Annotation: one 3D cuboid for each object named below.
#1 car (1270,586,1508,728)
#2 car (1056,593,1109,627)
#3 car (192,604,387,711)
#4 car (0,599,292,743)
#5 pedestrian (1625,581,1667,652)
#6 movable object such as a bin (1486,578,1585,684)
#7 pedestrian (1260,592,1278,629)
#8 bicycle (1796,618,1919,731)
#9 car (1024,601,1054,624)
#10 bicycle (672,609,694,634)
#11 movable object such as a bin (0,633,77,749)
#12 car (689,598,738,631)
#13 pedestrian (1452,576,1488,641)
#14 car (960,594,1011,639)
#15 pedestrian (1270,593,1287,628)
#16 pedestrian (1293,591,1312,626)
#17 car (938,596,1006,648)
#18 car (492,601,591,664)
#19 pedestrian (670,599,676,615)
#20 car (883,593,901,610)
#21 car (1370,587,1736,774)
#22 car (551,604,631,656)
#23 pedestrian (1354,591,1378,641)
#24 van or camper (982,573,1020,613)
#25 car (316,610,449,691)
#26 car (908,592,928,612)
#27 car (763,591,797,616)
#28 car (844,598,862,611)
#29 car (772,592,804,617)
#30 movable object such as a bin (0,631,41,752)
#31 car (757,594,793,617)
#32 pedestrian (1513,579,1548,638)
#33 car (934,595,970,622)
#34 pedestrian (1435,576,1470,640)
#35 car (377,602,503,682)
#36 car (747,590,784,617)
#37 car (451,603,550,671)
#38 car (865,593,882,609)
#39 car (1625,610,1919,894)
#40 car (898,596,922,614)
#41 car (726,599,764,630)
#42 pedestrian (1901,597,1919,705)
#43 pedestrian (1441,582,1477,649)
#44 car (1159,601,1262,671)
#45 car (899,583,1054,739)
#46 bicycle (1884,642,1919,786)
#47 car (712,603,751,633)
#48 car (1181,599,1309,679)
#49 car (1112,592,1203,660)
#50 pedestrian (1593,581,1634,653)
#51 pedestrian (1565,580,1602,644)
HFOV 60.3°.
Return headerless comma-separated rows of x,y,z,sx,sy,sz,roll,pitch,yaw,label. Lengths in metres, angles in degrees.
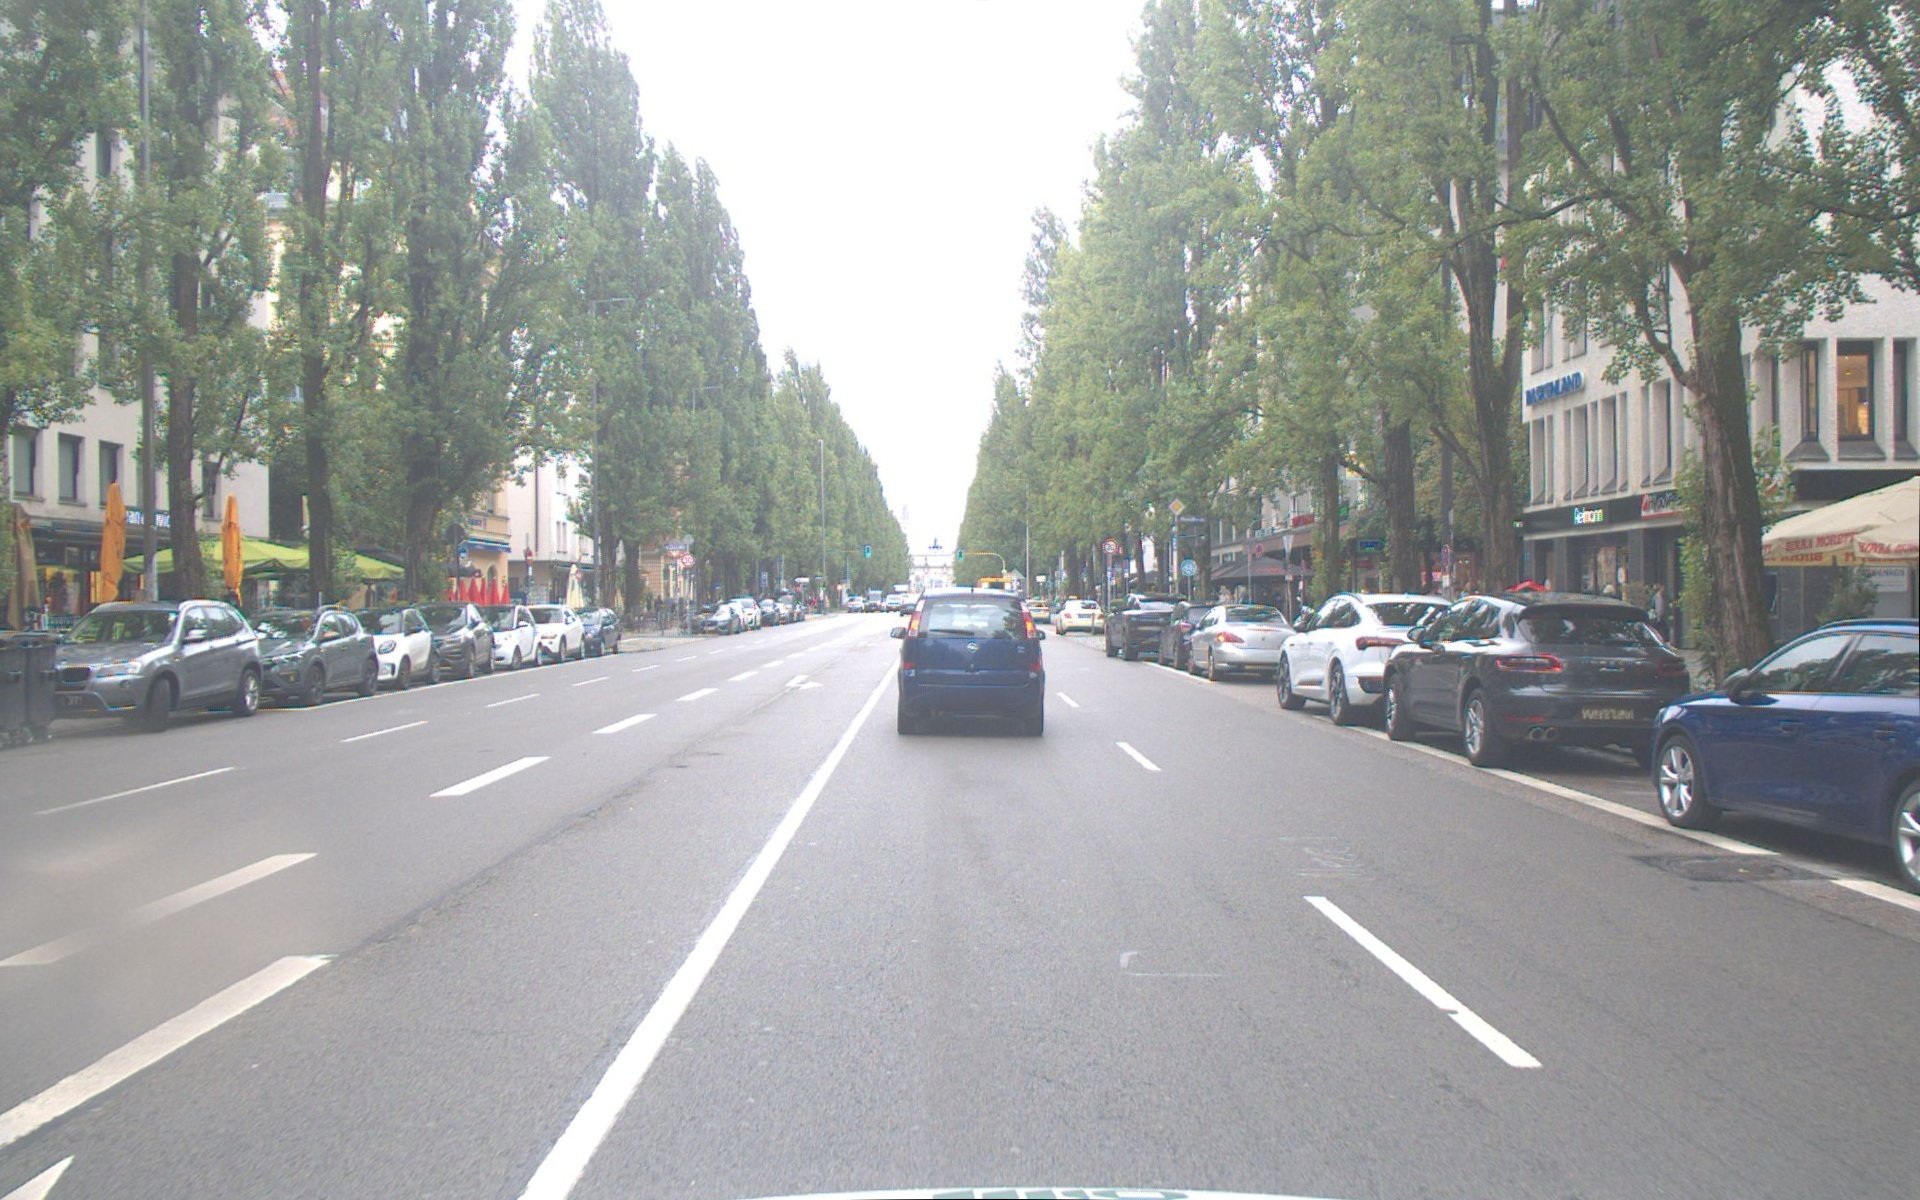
5.488,0.667,21.820,1.790,1.649,4.746,1,0,-2,car
5.098,0.404,69.049,1.858,1.386,3.899,-1,0,-1,car
-10.943,0.881,27.295,1.663,1.577,4.080,-1,0,-2,car
-11.006,0.875,22.757,1.827,1.683,4.614,-3,0,-2,car
16.279,0.379,39.256,0.641,1.655,0.704,-1,0,-4,pedestrian
9.779,0.508,28.171,1.012,1.733,1.585,-1,0,-5,movable object such as a bin
12.979,0.433,69.483,0.627,1.553,0.484,-1,0,-1,pedestrian
10.244,0.820,18.454,1.678,1.213,0.420,-1,0,-6,bicycle
4.907,0.778,103.690,1.635,1.376,4.104,-1,0,-1,car
-11.948,0.911,71.395,0.652,1.023,2.460,-1,0,-4,bicycle
-11.456,1.080,19.827,1.287,1.340,0.819,-1,0,-2,movable object such as a bin
-11.437,0.658,76.929,1.793,1.445,3.810,-1,0,-1,car
14.201,0.248,46.095,0.712,1.781,0.859,1,-1,-1,pedestrian
0.905,0.581,60.852,1.671,1.601,3.999,-1,0,-1,car
14.129,0.467,73.436,0.627,1.553,0.484,-1,0,-1,pedestrian
14.807,0.344,71.458,0.670,1.494,0.678,-1,0,-1,pedestrian
0.321,0.648,51.227,1.953,1.523,3.999,-1,0,-2,car
-11.175,0.833,44.427,1.798,1.573,4.084,-1,0,-3,car
-19.620,0.493,113.066,0.283,1.109,0.258,-1,0,4,pedestrian
-7.334,0.145,178.165,1.798,1.706,3.778,-1,0,-2,car
5.714,0.697,16.615,1.953,1.592,4.482,-1,0,-2,car
-11.051,0.885,49.716,1.553,1.472,3.391,-1,0,1,car
14.516,0.566,59.155,0.640,1.781,0.859,1,-1,0,pedestrian
2.807,-0.464,114.428,2.426,2.626,5.843,-1,0,-1,van or camper
-11.150,0.936,32.101,1.598,1.453,2.982,-1,0,-2,car
-3.772,0.187,148.486,1.798,1.792,3.778,-1,0,-2,car
-11.967,0.239,110.096,1.922,1.576,3.778,-1,0,-2,car
-12.741,0.530,196.845,1.922,1.576,3.778,-1,0,-2,car
-12.131,0.295,116.819,1.953,1.691,3.999,-1,0,-2,car
-11.393,1.047,18.973,1.234,1.340,0.825,-1,0,-2,movable object such as a bin
-11.839,0.345,106.114,1.922,1.424,3.778,-1,0,-2,car
16.079,0.242,46.617,0.720,1.655,0.765,1,-1,0,pedestrian
-0.475,0.471,94.553,1.953,1.524,3.999,-1,0,-2,car
14.343,0.229,48.140,0.777,1.843,0.682,-1,0,-3,pedestrian
-11.248,0.862,36.036,1.805,1.592,4.174,-1,0,-6,car
-11.726,0.198,99.902,1.922,1.557,3.998,-1,0,-2,car
-11.196,0.867,40.456,1.540,1.561,2.923,-1,0,1,car
-9.875,0.148,188.415,1.798,1.770,3.778,-1,0,-2,car
5.798,0.804,9.784,1.715,1.430,4.461,-1,0,-3,car
-4.101,0.409,136.732,1.922,1.424,3.778,-1,0,-2,car
-11.403,0.771,87.983,1.620,1.589,3.457,-1,0,-1,car
11.896,0.605,19.730,0.910,1.289,0.731,-1,0,-2,pedestrian
12.207,0.375,40.457,0.640,1.629,0.704,1,-1,-1,pedestrian
5.515,0.756,36.763,1.648,1.439,3.582,1,0,-2,car
0.120,0.645,19.685,1.647,1.670,3.999,0,0,-2,car
7.782,0.891,12.191,0.614,1.106,2.263,-1,0,-2,bicycle
-11.442,0.885,82.881,1.515,1.478,3.457,-1,0,-1,car
5.453,0.708,32.087,1.636,1.431,4.126,1,0,-2,car
4.979,0.633,42.176,1.761,1.621,4.104,1,0,-1,car
15.410,0.394,39.009,0.641,1.655,0.704,-1,0,-4,pedestrian
16.325,0.301,43.303,0.641,1.655,0.704,-1,0,-4,pedestrian
